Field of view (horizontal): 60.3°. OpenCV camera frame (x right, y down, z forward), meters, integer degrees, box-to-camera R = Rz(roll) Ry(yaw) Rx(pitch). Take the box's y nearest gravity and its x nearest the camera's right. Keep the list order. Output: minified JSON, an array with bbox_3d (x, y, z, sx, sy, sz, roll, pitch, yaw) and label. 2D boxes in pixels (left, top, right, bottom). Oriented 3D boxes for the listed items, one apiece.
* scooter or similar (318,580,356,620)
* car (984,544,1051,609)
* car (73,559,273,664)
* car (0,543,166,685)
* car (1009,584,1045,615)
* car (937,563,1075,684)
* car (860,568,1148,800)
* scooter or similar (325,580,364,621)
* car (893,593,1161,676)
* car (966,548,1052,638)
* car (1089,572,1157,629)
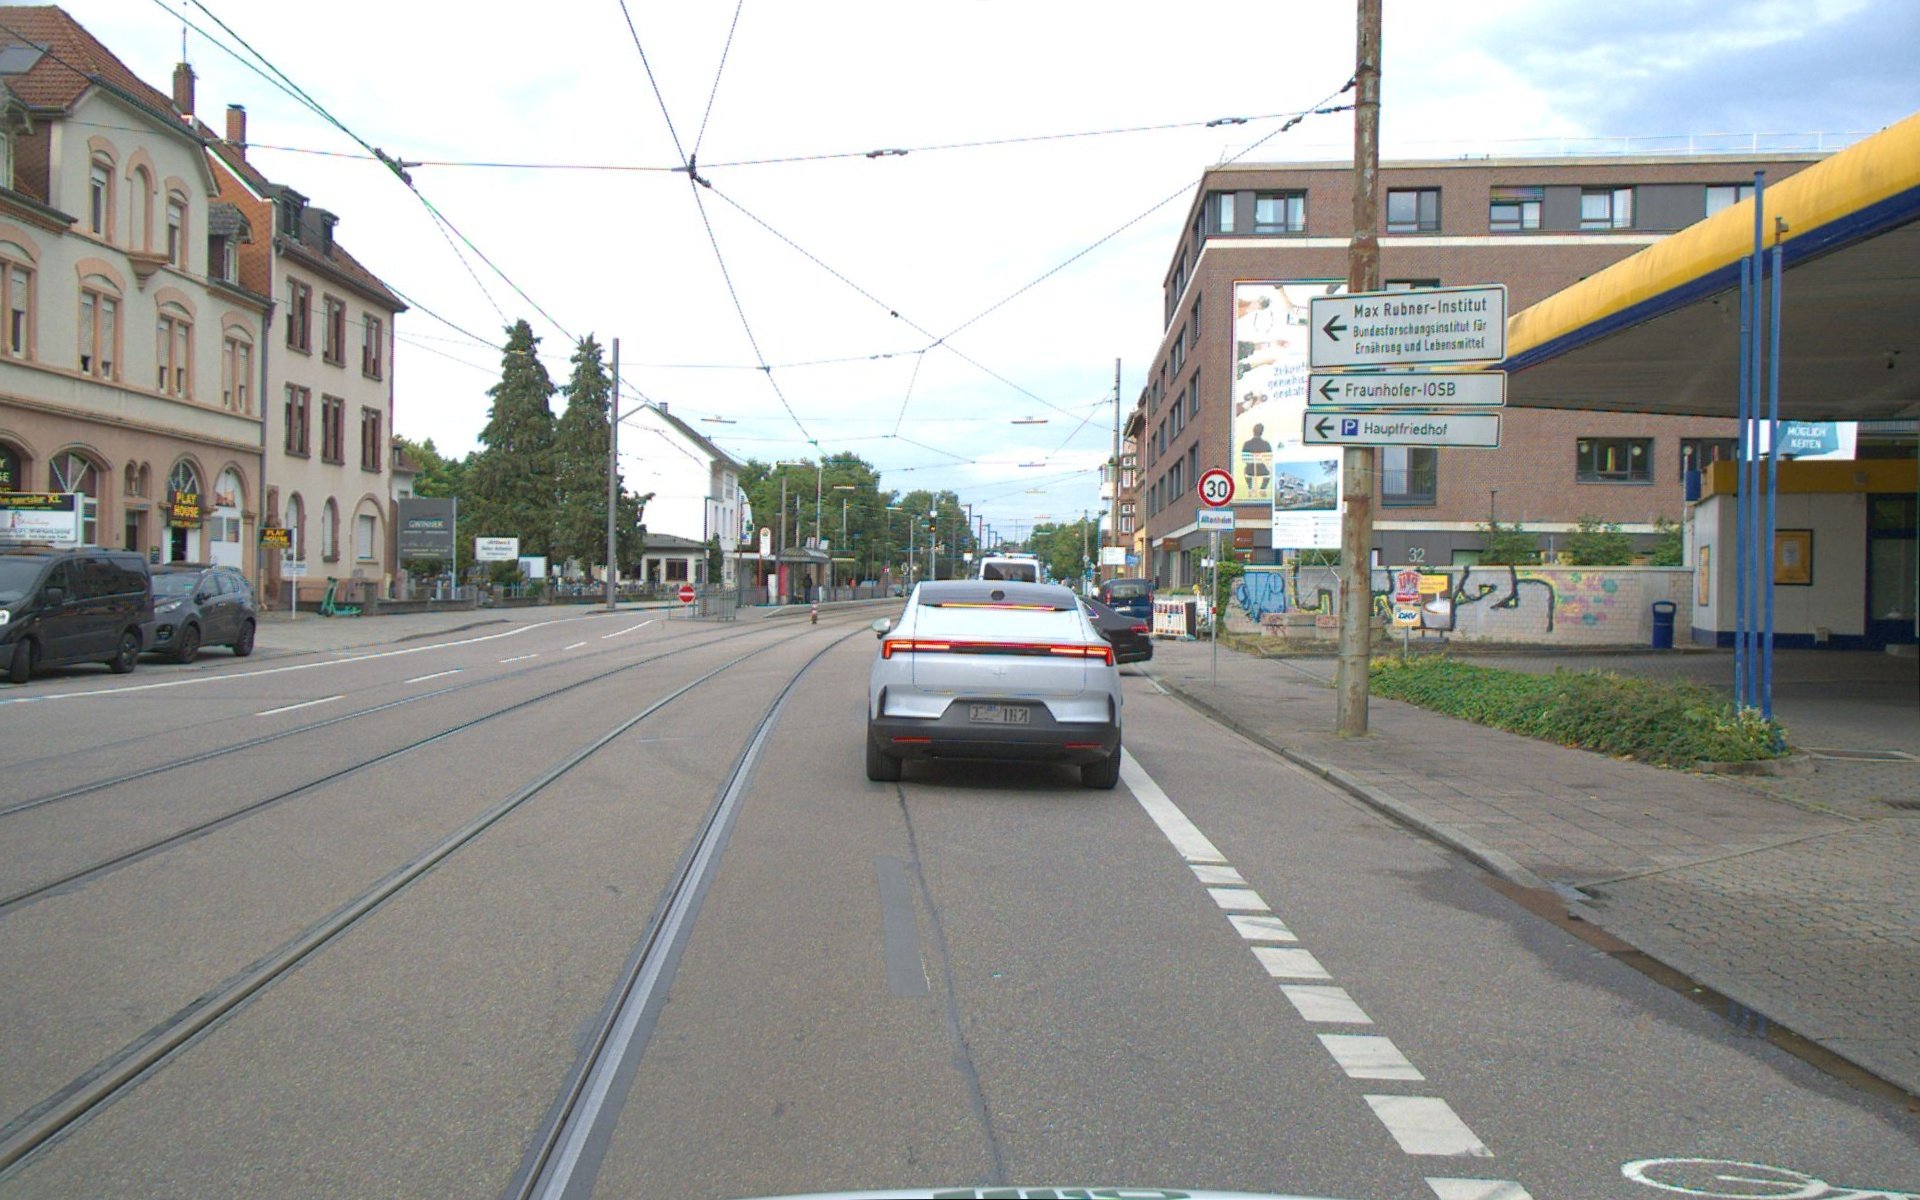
[{"bbox_3d":[-19.283,0.006,51.200,1.041,1.209,0.314,2,-1,-37],"label":"scooter or similar"},{"bbox_3d":[2.057,-0.814,60.487,2.096,2.183,4.742,2,0,-1],"label":"car"},{"bbox_3d":[-14.512,0.204,30.781,1.808,1.748,4.191,2,0,-3],"label":"car"},{"bbox_3d":[-14.068,0.161,24.805,1.952,1.920,4.996,2,0,-2],"label":"car"},{"bbox_3d":[4.557,-0.021,113.723,1.954,2.049,3.996,2,0,-5],"label":"car"},{"bbox_3d":[0.677,0.361,27.294,1.929,1.787,3.835,2,0,-3],"label":"car"},{"bbox_3d":[0.194,0.583,13.779,1.943,1.577,4.180,2,0,-4],"label":"car"},{"bbox_3d":[-18.888,0.018,50.759,1.041,1.209,0.314,2,-1,-37],"label":"scooter or similar"},{"bbox_3d":[1.192,0.622,30.927,4.777,1.452,1.950,1,0,-7],"label":"car"},{"bbox_3d":[1.401,-0.190,49.634,2.172,2.465,4.949,2,0,-2],"label":"car"},{"bbox_3d":[5.676,0.033,57.910,1.836,1.855,4.095,2,0,-1],"label":"car"}]
